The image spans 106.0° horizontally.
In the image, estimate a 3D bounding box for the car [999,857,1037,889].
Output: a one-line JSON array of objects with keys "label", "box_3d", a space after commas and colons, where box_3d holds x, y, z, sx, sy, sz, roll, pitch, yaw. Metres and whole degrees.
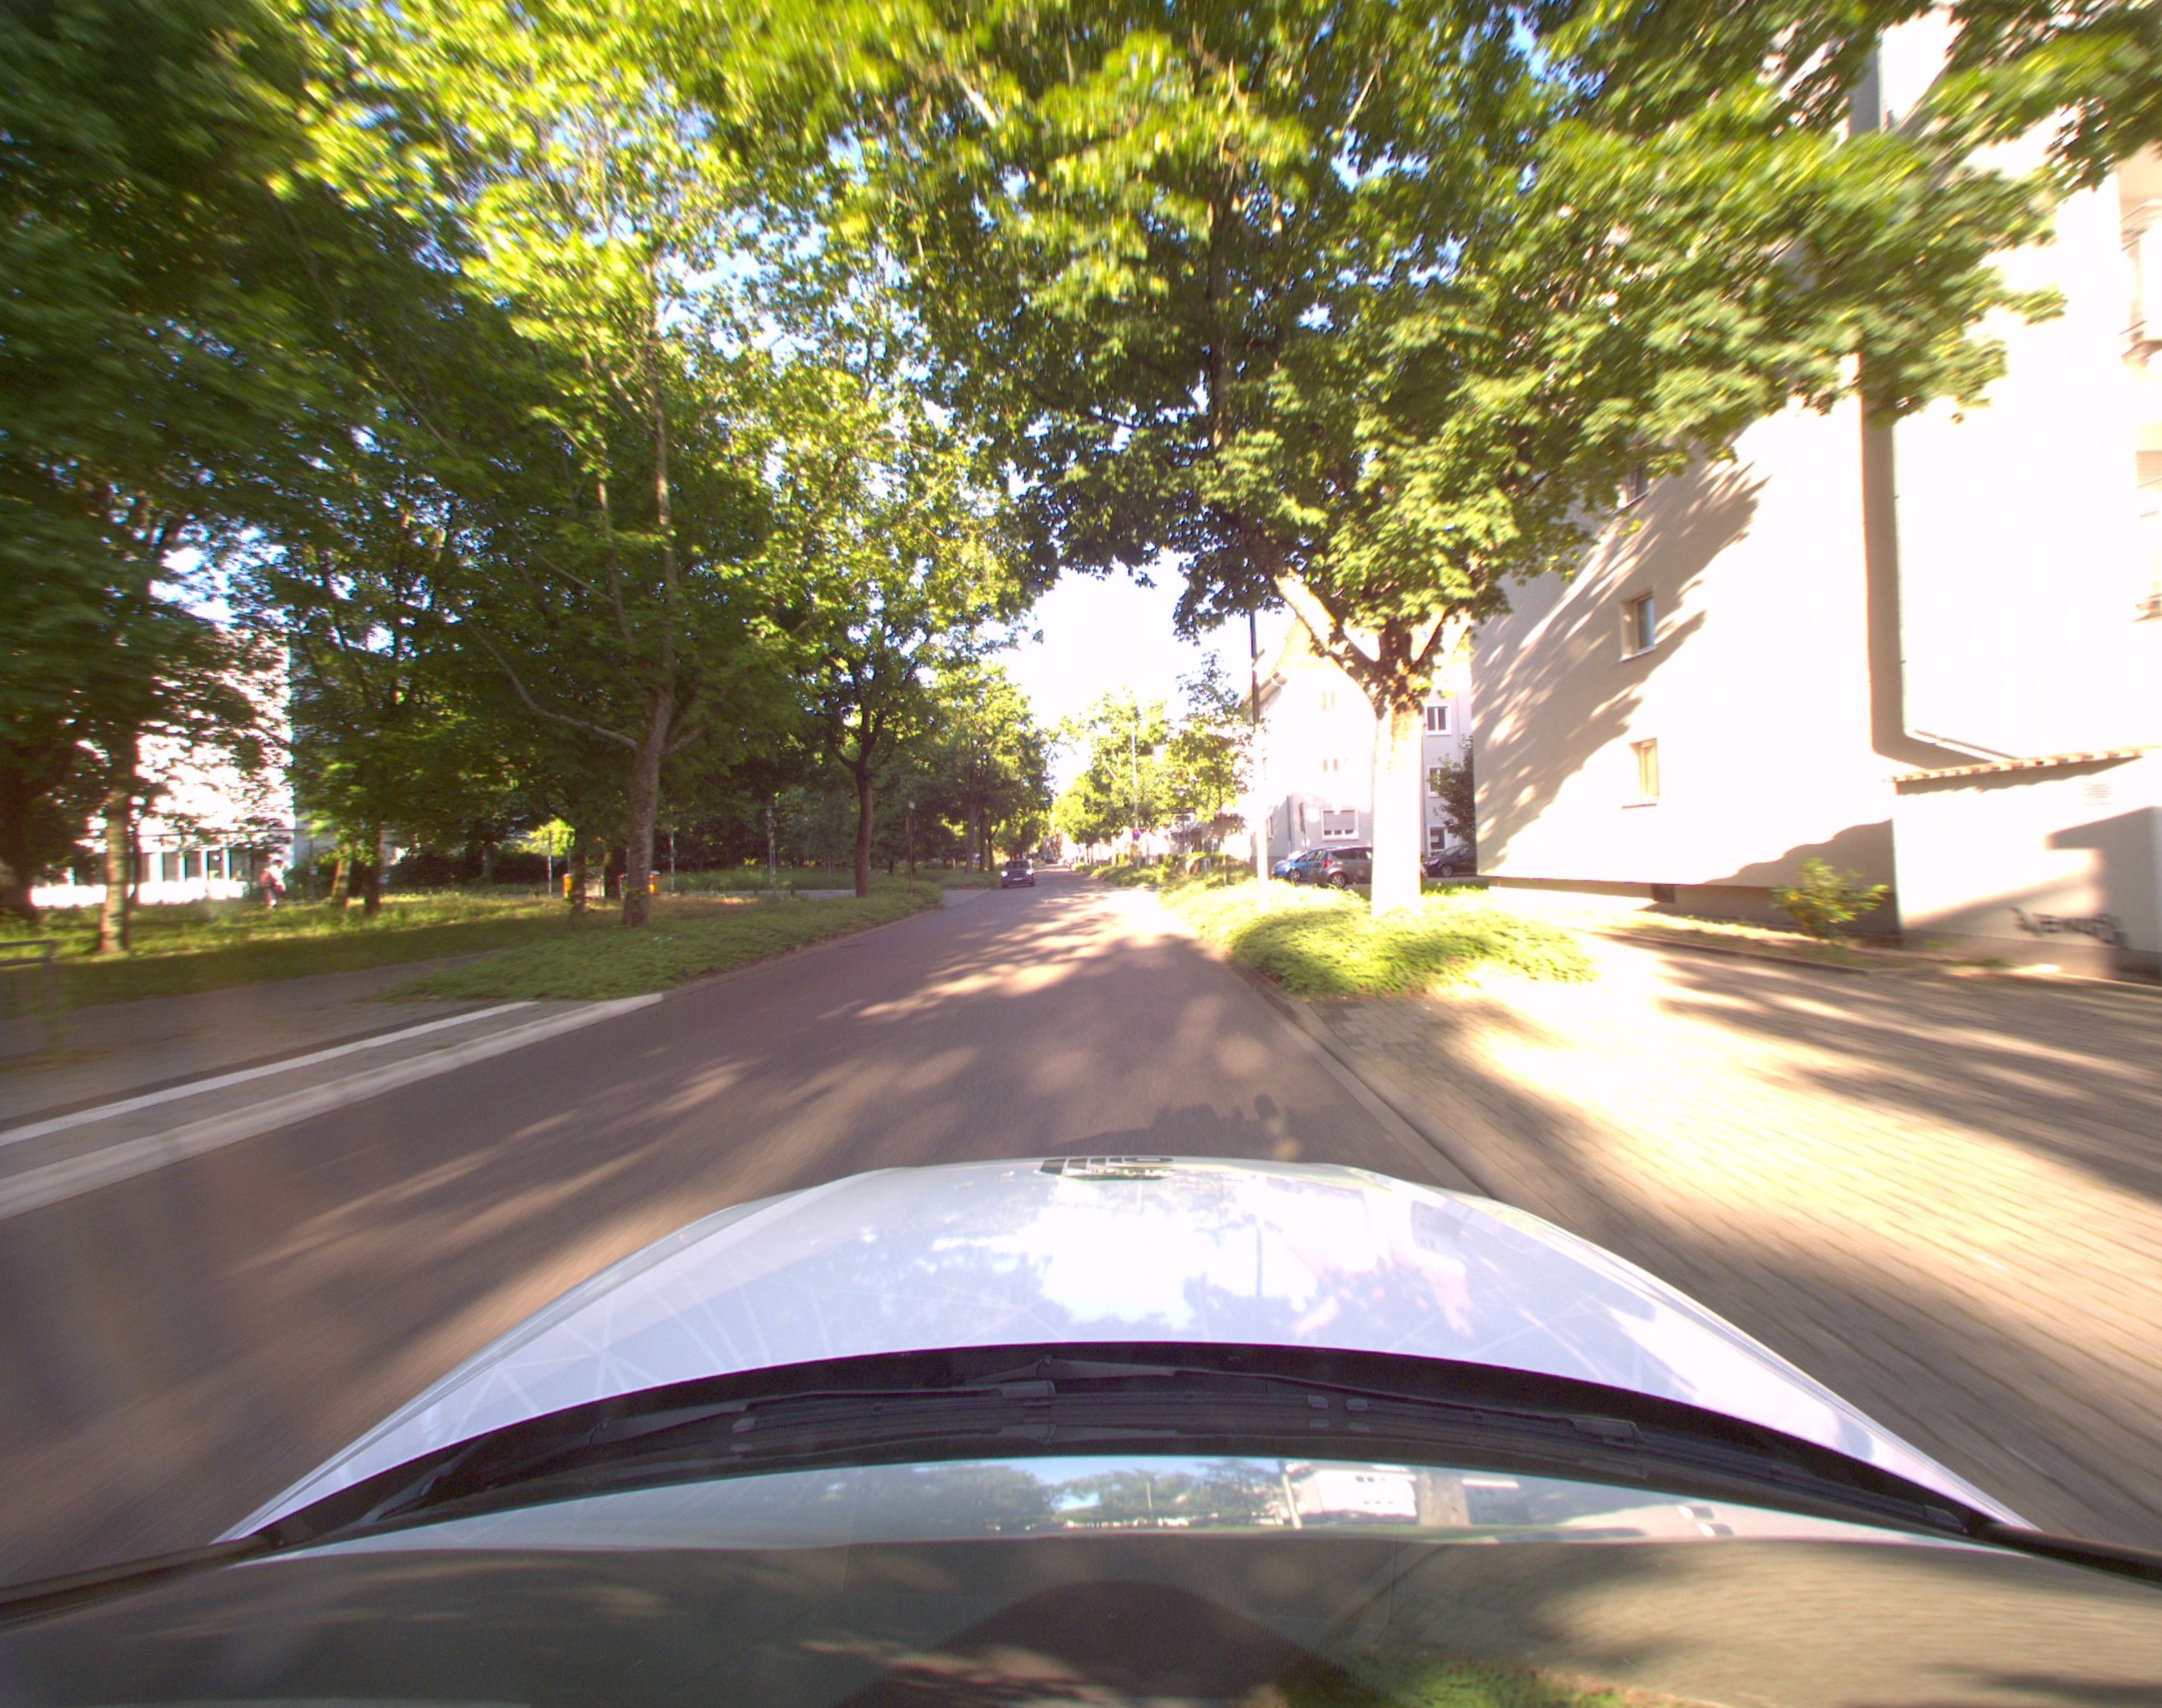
[{"label": "car", "box_3d": [-3.552, 1.052, 46.626, 1.839, 1.578, 4.333, -4, 0, -2]}]

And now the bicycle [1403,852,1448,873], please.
[{"label": "bicycle", "box_3d": [16.573, 0.402, 39.166, 1.958, 0.925, 0.483, -1, 1, -2]}]

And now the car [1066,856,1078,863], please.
[{"label": "car", "box_3d": [-1.975, 1.166, 170.599, 1.811, 1.501, 3.986, -2, 0, -10]}]

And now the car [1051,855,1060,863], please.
[{"label": "car", "box_3d": [-6.225, 1.129, 199.042, 1.809, 1.925, 3.991, -1, 0, -6]}]

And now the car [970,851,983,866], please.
[{"label": "car", "box_3d": [-18.721, 0.798, 146.168, 1.995, 2.508, 3.984, -1, 0, -11]}]

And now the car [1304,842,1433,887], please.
[{"label": "car", "box_3d": [10.262, 0.384, 29.256, 4.030, 1.514, 1.725, -1, -2, -2]}]

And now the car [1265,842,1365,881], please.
[{"label": "car", "box_3d": [10.594, 0.312, 37.017, 3.978, 1.581, 1.808, -2, 1, -4]}]

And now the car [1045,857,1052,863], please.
[{"label": "car", "box_3d": [-8.541, 1.462, 213.591, 1.809, 1.501, 3.991, -1, 0, -6]}]

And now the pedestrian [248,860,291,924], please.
[{"label": "pedestrian", "box_3d": [-25.927, 1.215, 26.022, 0.753, 2.014, 0.590, -1, -1, 1]}]

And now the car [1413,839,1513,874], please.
[{"label": "car", "box_3d": [17.405, 0.098, 37.232, 3.813, 1.498, 1.647, -1, 0, -1]}]

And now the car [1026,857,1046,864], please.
[{"label": "car", "box_3d": [-9.226, 1.313, 168.154, 3.988, 1.501, 1.810, -1, 0, -11]}]
